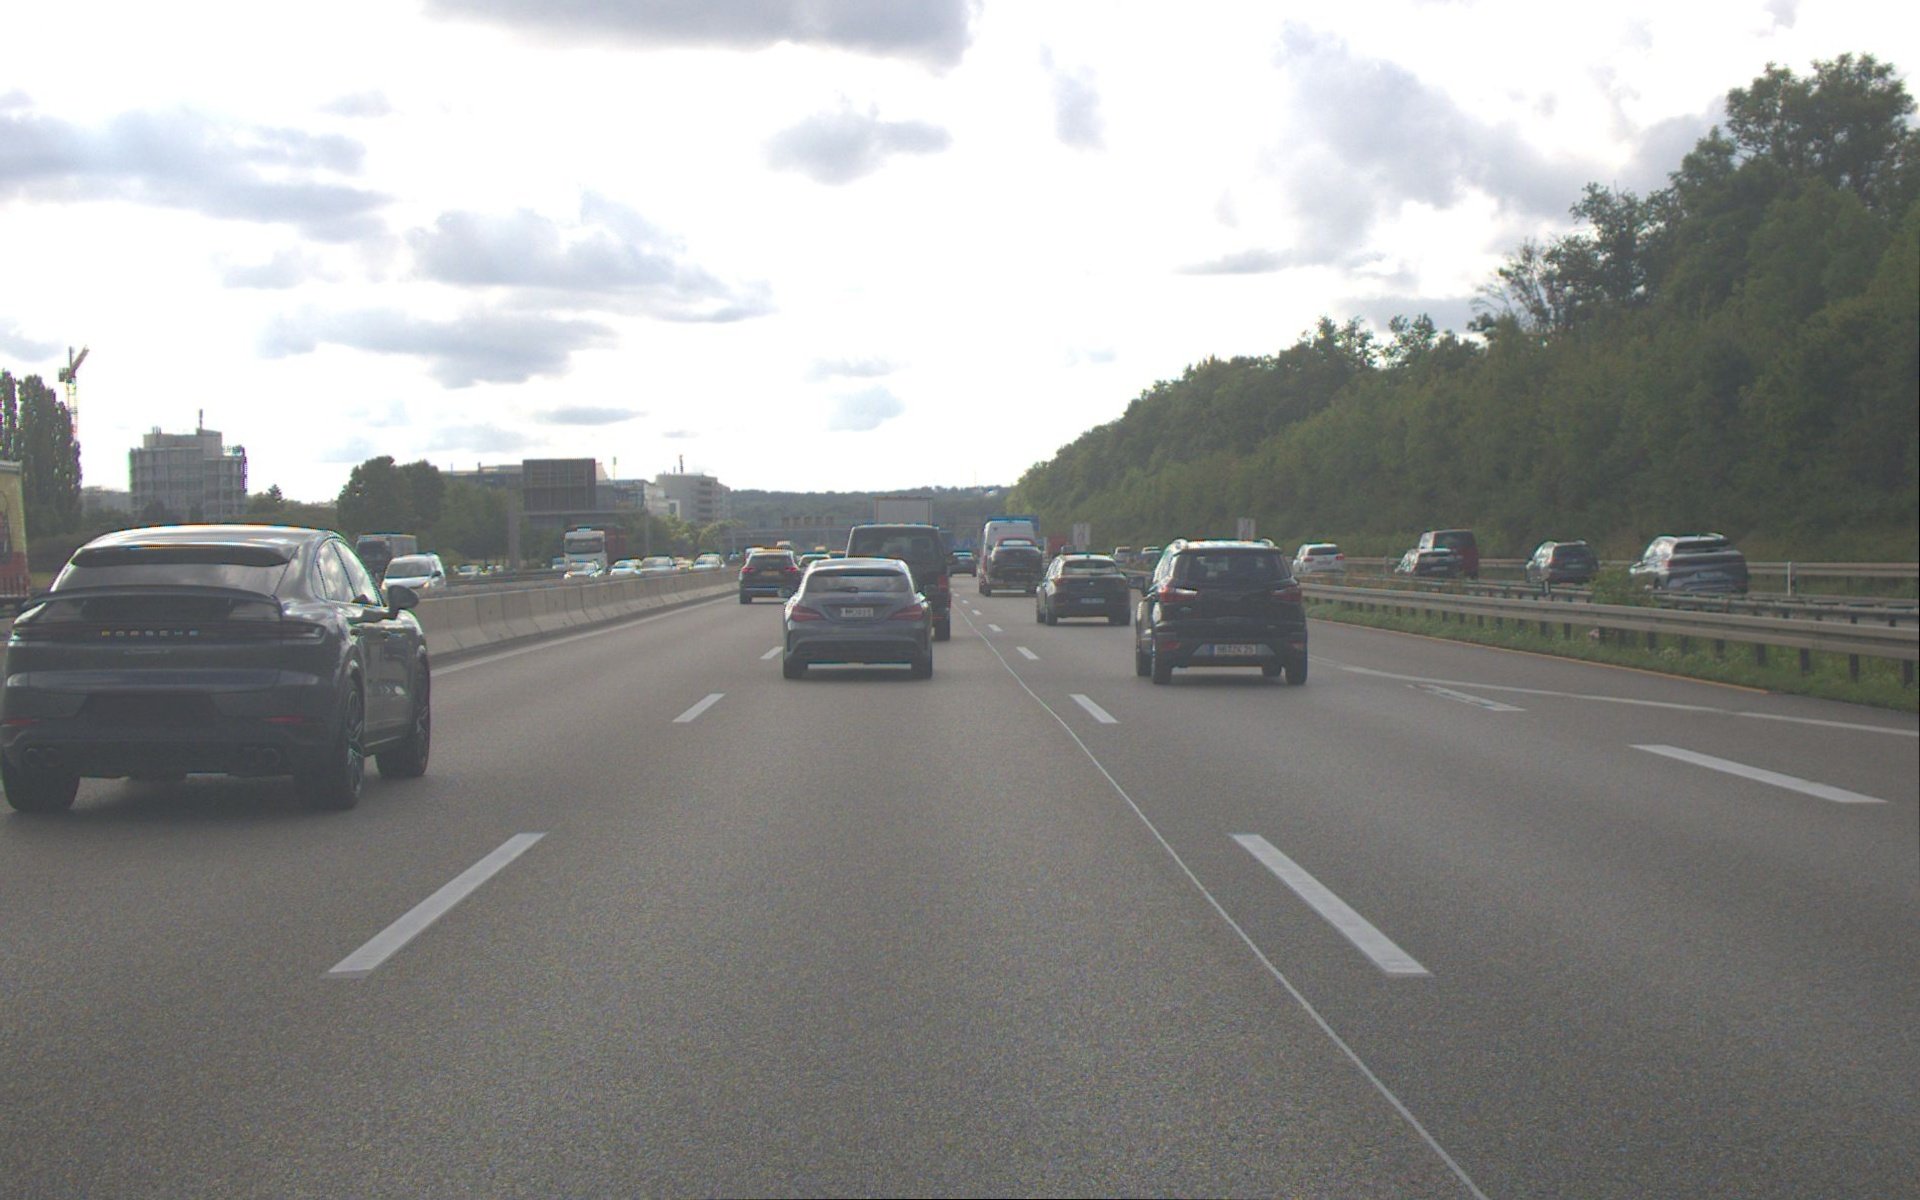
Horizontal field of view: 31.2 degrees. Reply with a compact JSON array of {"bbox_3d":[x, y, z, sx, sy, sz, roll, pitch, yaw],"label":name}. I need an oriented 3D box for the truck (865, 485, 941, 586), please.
[{"bbox_3d":[-2.585,-2.887,155.176,3.263,4.360,11.027,1,1,-1],"label":"truck"}]

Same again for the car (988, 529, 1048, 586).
[{"bbox_3d":[1.978,-1.467,118.024,1.913,1.912,4.031,0,1,-1],"label":"car"}]

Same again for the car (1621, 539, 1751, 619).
[{"bbox_3d":[16.025,-0.481,76.067,1.846,1.644,4.306,-2,1,-1],"label":"car"}]

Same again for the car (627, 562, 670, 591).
[{"bbox_3d":[-15.326,-1.177,169.069,1.757,1.398,4.074,-1,1,-1],"label":"car"}]

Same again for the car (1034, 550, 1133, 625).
[{"bbox_3d":[2.560,-0.290,71.831,1.832,1.516,4.225,0,1,-1],"label":"car"}]

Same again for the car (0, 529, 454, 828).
[{"bbox_3d":[-4.480,0.391,21.539,1.912,1.630,5.500,0,1,-1],"label":"car"}]

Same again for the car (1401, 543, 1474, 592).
[{"bbox_3d":[15.337,-1.039,110.545,1.595,1.540,4.191,0,1,-2],"label":"car"}]

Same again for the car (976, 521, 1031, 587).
[{"bbox_3d":[1.565,-1.685,124.816,1.873,2.349,4.282,0,1,-1],"label":"car"}]

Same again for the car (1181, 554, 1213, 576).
[{"bbox_3d":[16.254,-2.405,235.620,1.752,1.512,4.191,0,1,-2],"label":"car"}]

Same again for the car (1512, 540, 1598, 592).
[{"bbox_3d":[18.702,-1.089,108.126,1.728,1.540,4.306,-2,1,-2],"label":"car"}]

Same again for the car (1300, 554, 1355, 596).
[{"bbox_3d":[15.026,-1.037,140.756,1.752,1.689,4.190,0,1,-1],"label":"car"}]

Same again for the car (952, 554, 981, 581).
[{"bbox_3d":[0.403,-2.028,214.903,1.752,1.689,4.190,0,1,-1],"label":"car"}]

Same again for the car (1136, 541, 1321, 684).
[{"bbox_3d":[3.068,0.113,39.975,1.697,1.559,4.114,0,1,-2],"label":"car"}]

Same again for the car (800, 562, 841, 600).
[{"bbox_3d":[-5.925,-0.822,146.275,1.697,1.605,4.114,0,1,-2],"label":"car"}]

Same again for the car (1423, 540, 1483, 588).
[{"bbox_3d":[18.694,-1.358,130.436,1.595,1.798,3.825,0,1,-2],"label":"car"}]

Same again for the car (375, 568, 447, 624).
[{"bbox_3d":[-18.382,-0.155,115.363,1.733,1.788,5.125,-1,1,-2],"label":"car"}]

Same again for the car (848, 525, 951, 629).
[{"bbox_3d":[-1.047,-0.410,59.268,1.720,1.718,4.392,0,1,-1],"label":"car"}]

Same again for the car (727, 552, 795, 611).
[{"bbox_3d":[-5.892,-0.560,102.121,1.873,1.692,4.072,0,0,-1],"label":"car"}]

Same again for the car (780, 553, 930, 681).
[{"bbox_3d":[-1.254,0.163,41.724,1.720,1.474,4.392,0,1,-1],"label":"car"}]

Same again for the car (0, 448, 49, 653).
[{"bbox_3d":[-21.576,-0.966,69.254,2.905,4.310,14.146,-1,1,-1],"label":"car"}]
